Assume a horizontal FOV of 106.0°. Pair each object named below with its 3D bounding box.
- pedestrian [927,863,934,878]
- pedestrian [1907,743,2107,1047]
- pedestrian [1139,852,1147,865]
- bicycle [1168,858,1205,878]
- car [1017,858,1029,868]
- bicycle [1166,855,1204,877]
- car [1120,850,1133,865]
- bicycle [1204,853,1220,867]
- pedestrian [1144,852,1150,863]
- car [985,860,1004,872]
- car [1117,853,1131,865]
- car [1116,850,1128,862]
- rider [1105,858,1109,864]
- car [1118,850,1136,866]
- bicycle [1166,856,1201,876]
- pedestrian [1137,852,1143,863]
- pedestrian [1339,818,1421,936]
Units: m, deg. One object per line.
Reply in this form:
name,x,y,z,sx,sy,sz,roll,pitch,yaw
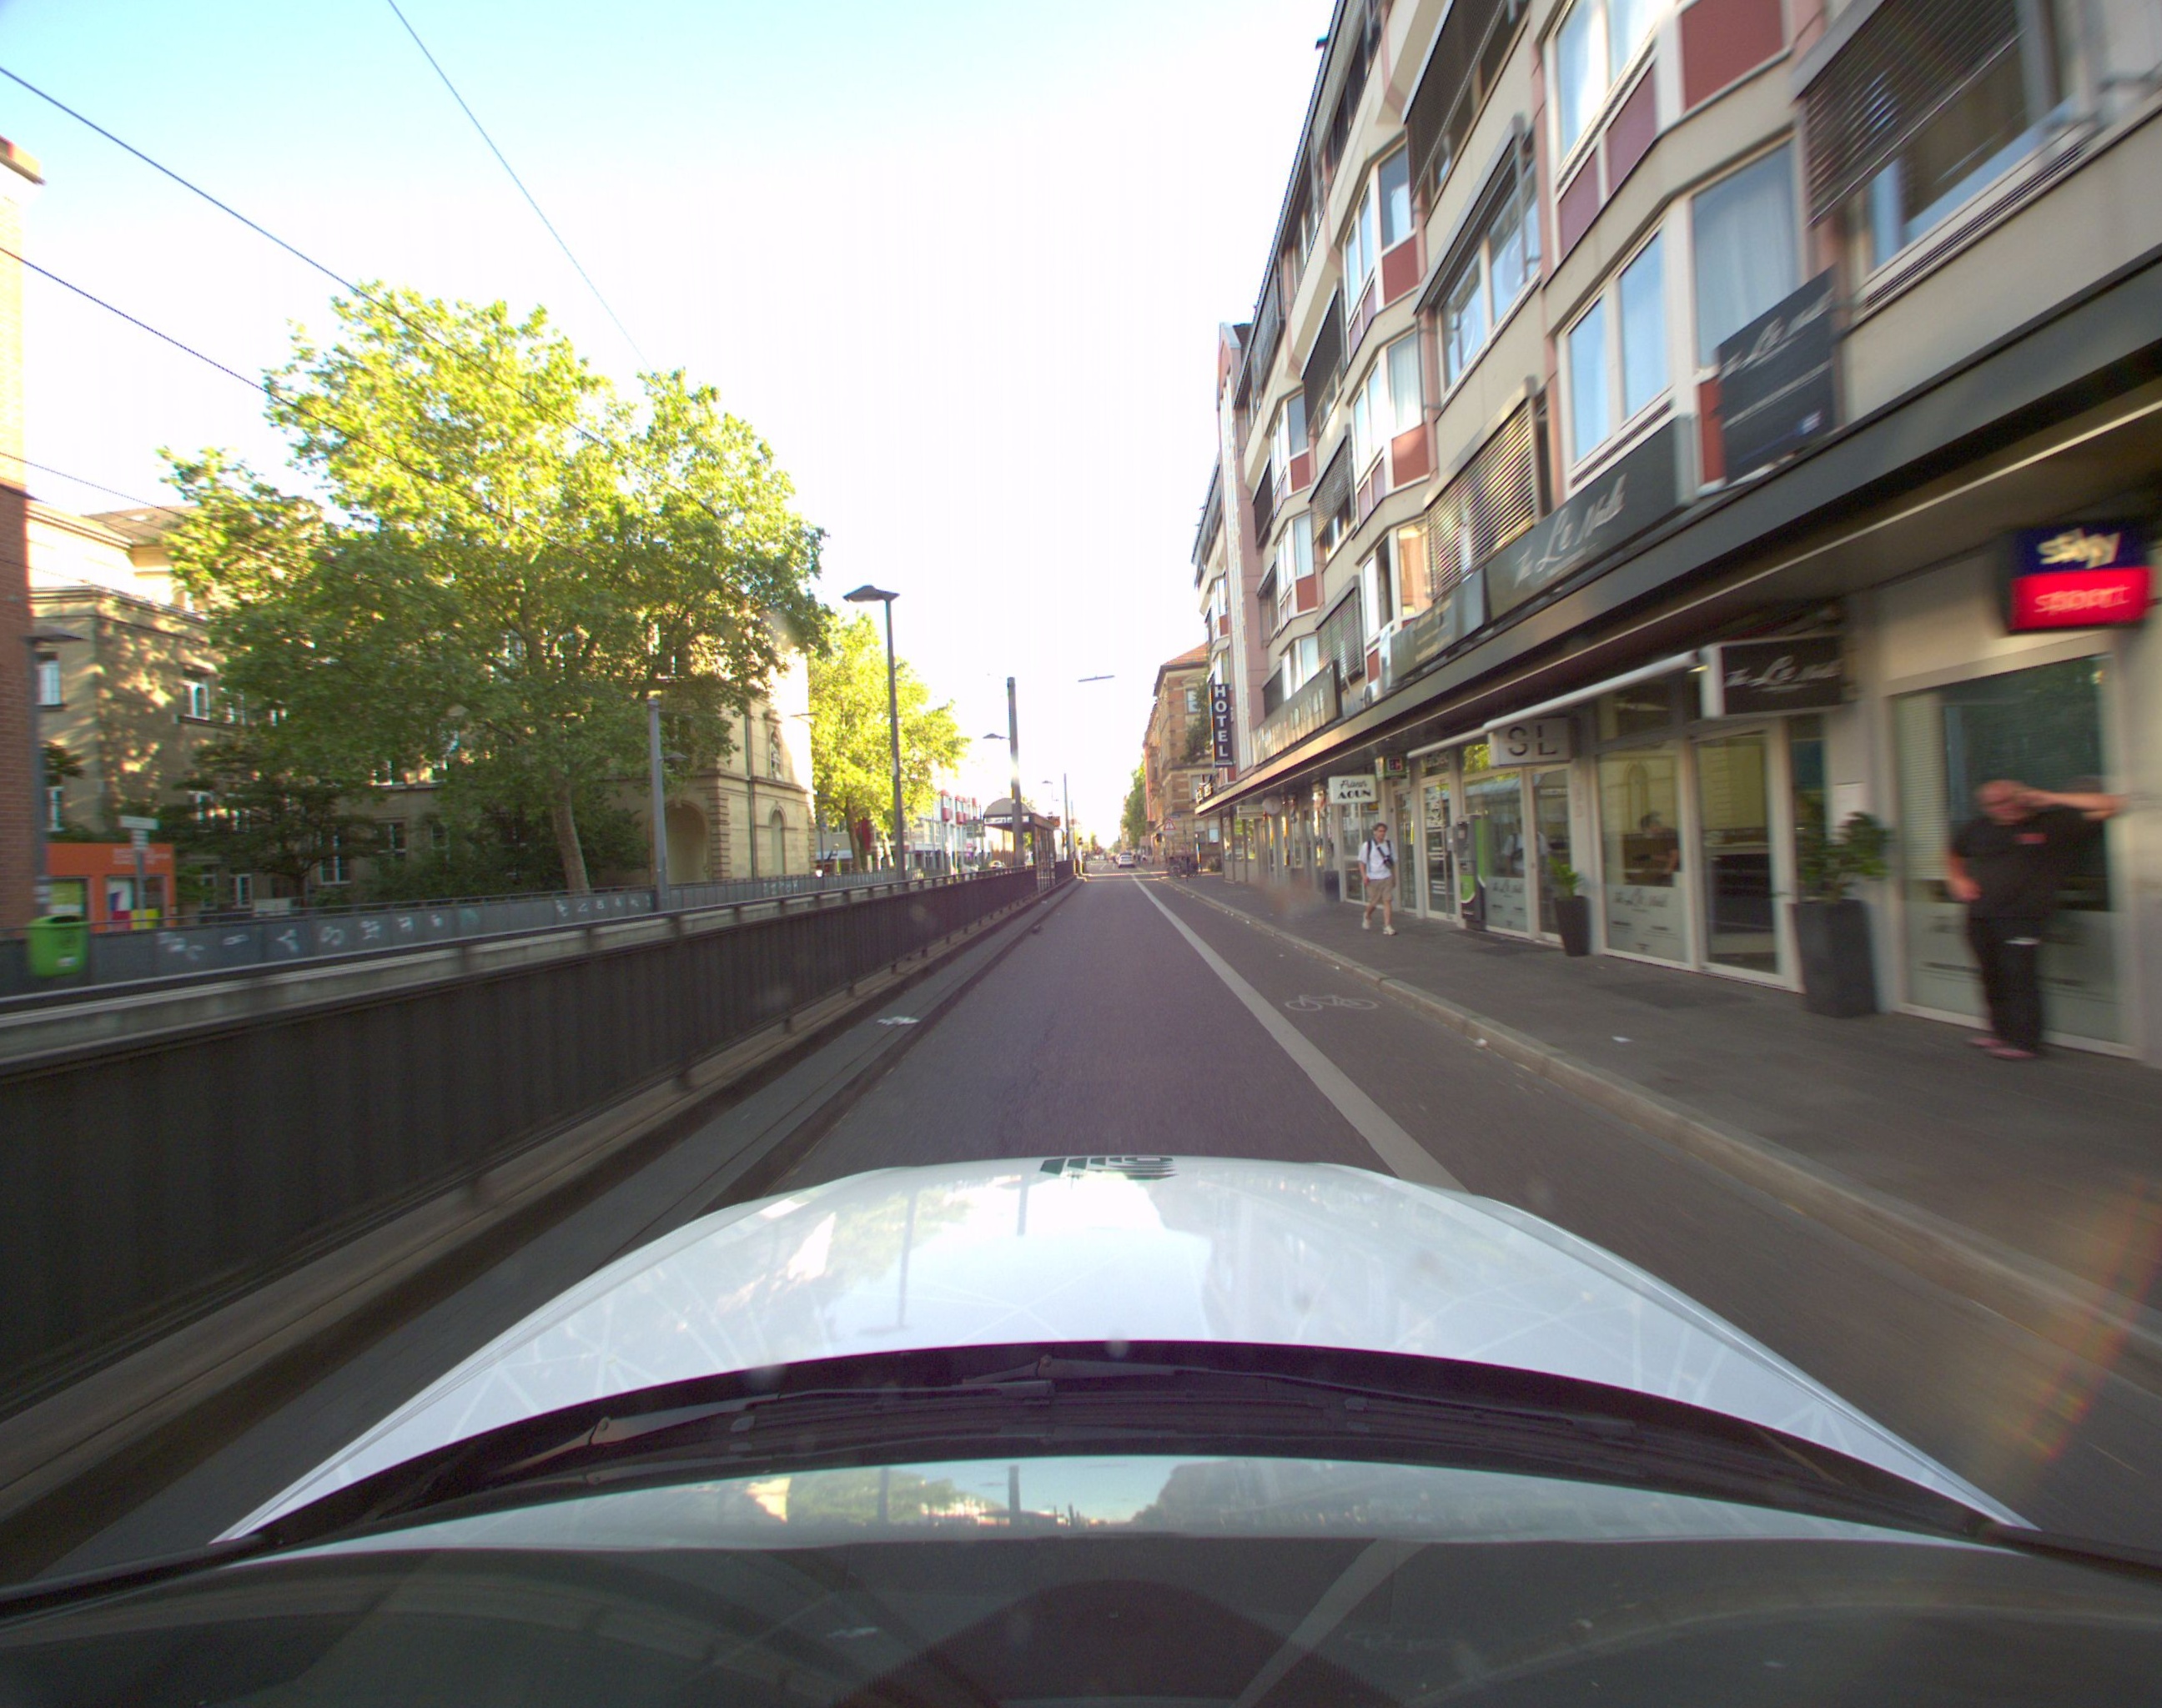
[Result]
pedestrian,-18.115,1.958,97.984,0.741,1.712,0.615,-3,0,-2
pedestrian,5.448,0.224,4.816,0.540,1.673,0.468,-4,-1,-7
pedestrian,7.936,0.540,103.861,0.772,1.567,0.915,-6,-1,5
bicycle,5.841,0.778,45.174,1.908,1.047,0.681,-3,0,-2
car,-10.991,1.688,154.077,1.864,1.600,4.252,-2,0,-1
bicycle,5.841,0.662,45.832,1.964,1.104,0.614,-3,0,-2
car,6.632,0.545,118.425,1.697,2.120,3.711,-2,-1,5
bicycle,10.213,0.482,63.431,0.452,1.024,1.897,-3,0,-16
pedestrian,9.962,0.509,123.548,0.772,1.567,0.914,-6,-1,3
car,-12.708,1.782,119.890,2.083,1.713,4.820,-2,-1,1
car,6.515,0.754,123.812,1.943,1.788,5.182,-1,-1,1
car,7.768,0.341,153.460,1.963,2.014,4.562,-4,0,3
rider,6.050,1.594,189.681,0.880,1.481,0.713,-1,-1,3
car,5.380,0.454,95.621,1.958,1.771,4.879,-2,0,3
bicycle,5.860,0.685,46.562,1.828,1.054,0.717,-3,0,-2
pedestrian,8.938,0.518,123.611,0.772,1.567,0.914,-6,-1,3
pedestrian,4.725,0.357,12.951,0.795,1.722,1.062,-6,-1,3
